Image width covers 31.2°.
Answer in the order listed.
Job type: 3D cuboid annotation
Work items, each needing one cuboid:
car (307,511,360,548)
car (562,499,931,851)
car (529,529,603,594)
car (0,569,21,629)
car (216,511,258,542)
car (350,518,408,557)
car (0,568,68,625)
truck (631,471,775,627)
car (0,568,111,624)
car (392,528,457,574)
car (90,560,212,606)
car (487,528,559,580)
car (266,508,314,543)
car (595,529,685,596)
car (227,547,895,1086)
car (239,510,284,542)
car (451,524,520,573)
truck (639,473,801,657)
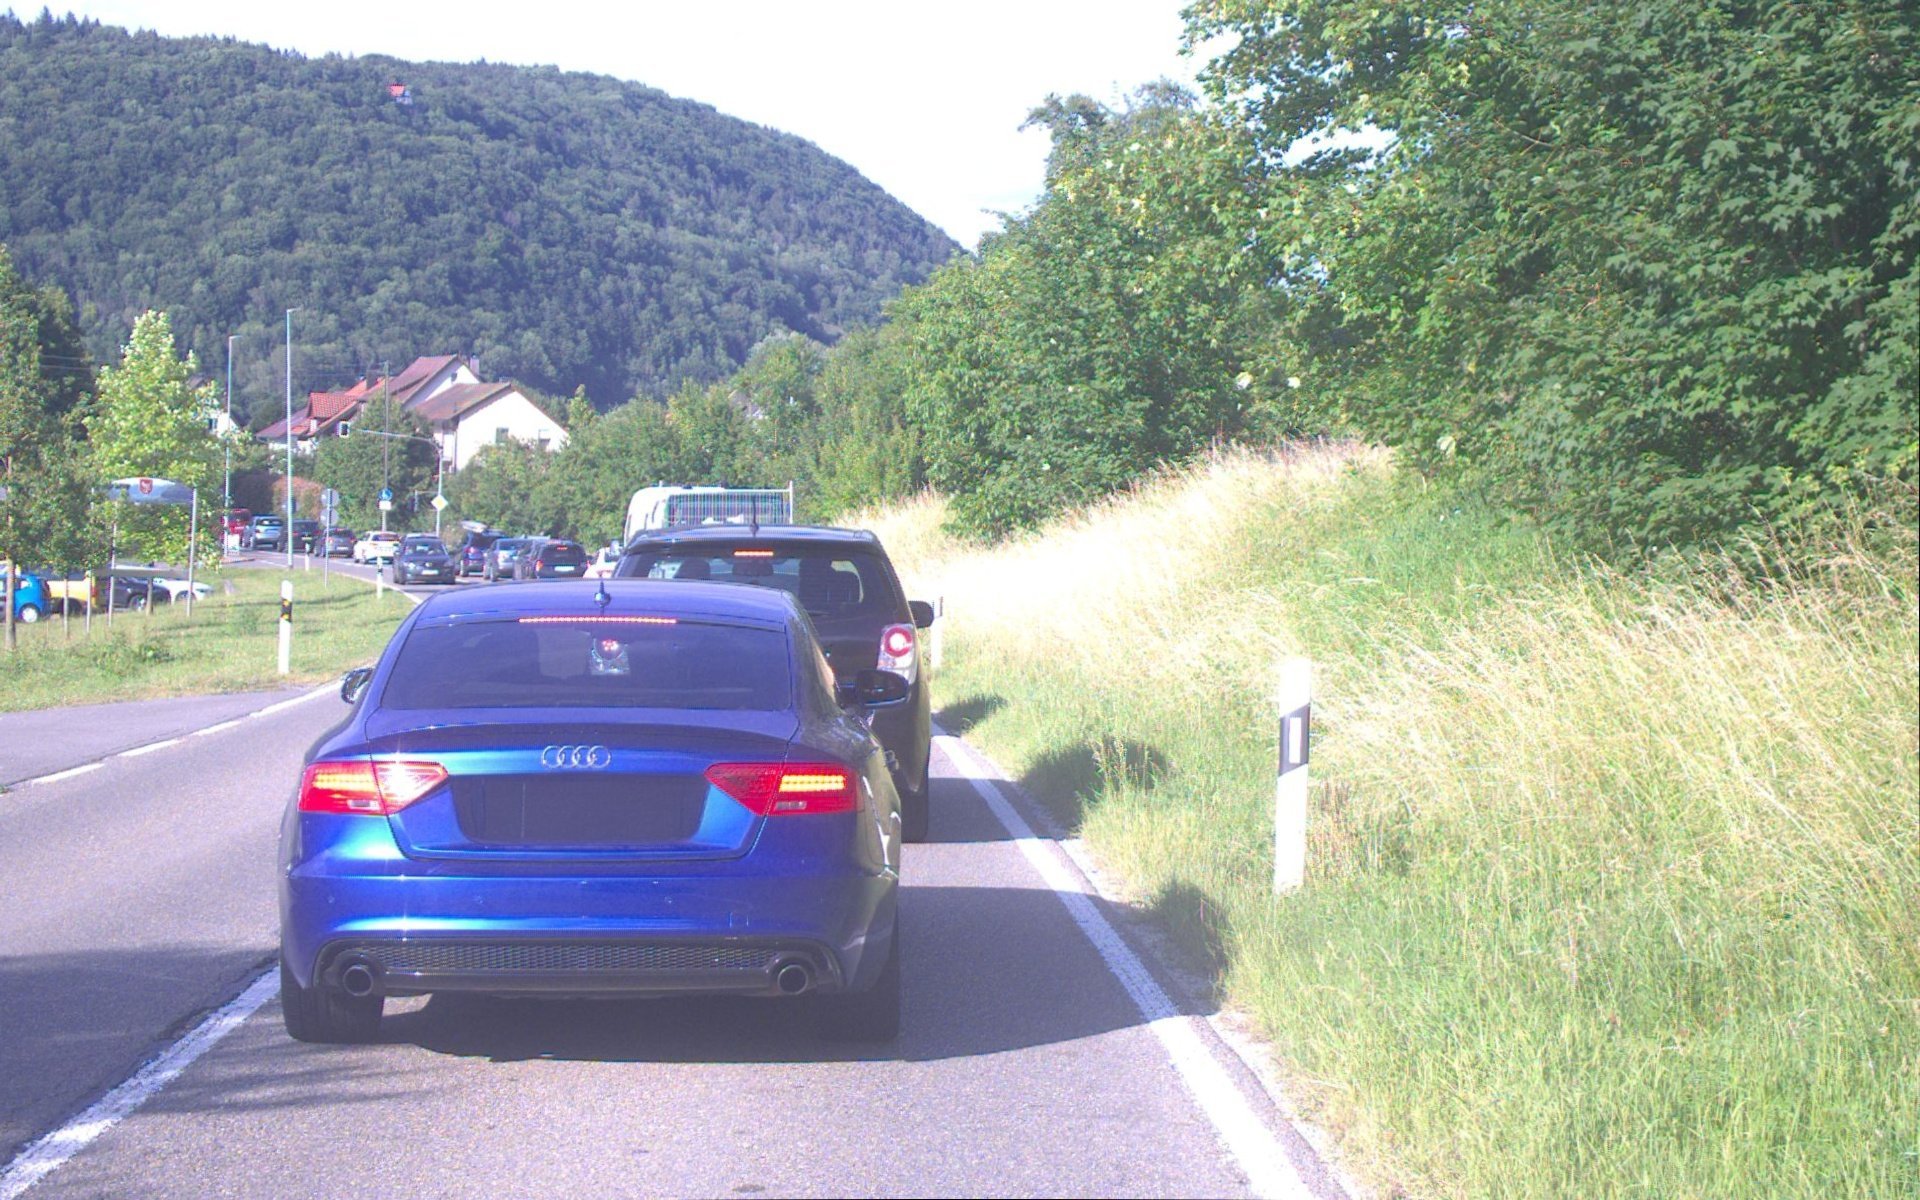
[{"bbox_3d":[-30.286,-3.389,166.125,1.845,1.706,4.001,1,1,-20],"label":"car"},{"bbox_3d":[-1.055,0.343,18.463,1.754,1.675,3.846,1,0,-1],"label":"car"},{"bbox_3d":[-10.645,-1.034,92.804,1.845,1.706,4.001,1,1,-8],"label":"car"},{"bbox_3d":[-29.325,-0.061,99.150,3.986,1.705,2.000,1,0,-4],"label":"car"},{"bbox_3d":[-41.631,-4.223,198.001,1.845,1.706,4.001,1,1,-20],"label":"car"},{"bbox_3d":[-25.760,-2.760,152.341,1.845,1.706,4.001,1,1,-20],"label":"car"},{"bbox_3d":[-29.448,-0.116,104.936,3.986,1.705,2.000,1,0,-4],"label":"car"},{"bbox_3d":[-4.576,-0.884,60.330,2.229,2.561,6.709,1,1,-7],"label":"truck"},{"bbox_3d":[-28.724,-0.129,107.317,3.986,1.705,2.000,1,0,-4],"label":"car"},{"bbox_3d":[-17.076,-1.566,109.544,1.703,1.425,4.052,1,1,-13],"label":"car"},{"bbox_3d":[-28.687,-0.606,121.980,3.986,1.573,1.753,1,0,-4],"label":"car"},{"bbox_3d":[-14.816,-1.549,116.362,1.845,1.706,4.001,1,1,-15],"label":"car"},{"bbox_3d":[-34.584,-3.836,177.486,1.845,1.706,4.001,1,1,-20],"label":"car"},{"bbox_3d":[-7.374,-0.865,78.974,1.845,1.477,4.001,1,1,-8],"label":"car"},{"bbox_3d":[-1.107,0.564,11.144,1.754,1.425,3.846,1,1,-1],"label":"car"},{"bbox_3d":[-38.147,-4.027,187.597,1.845,1.706,4.001,1,1,-20],"label":"car"},{"bbox_3d":[-17.097,-1.854,123.786,1.845,1.706,4.001,1,1,-17],"label":"car"},{"bbox_3d":[-3.552,-0.518,51.215,2.229,2.561,6.104,1,1,-4],"label":"truck"}]
